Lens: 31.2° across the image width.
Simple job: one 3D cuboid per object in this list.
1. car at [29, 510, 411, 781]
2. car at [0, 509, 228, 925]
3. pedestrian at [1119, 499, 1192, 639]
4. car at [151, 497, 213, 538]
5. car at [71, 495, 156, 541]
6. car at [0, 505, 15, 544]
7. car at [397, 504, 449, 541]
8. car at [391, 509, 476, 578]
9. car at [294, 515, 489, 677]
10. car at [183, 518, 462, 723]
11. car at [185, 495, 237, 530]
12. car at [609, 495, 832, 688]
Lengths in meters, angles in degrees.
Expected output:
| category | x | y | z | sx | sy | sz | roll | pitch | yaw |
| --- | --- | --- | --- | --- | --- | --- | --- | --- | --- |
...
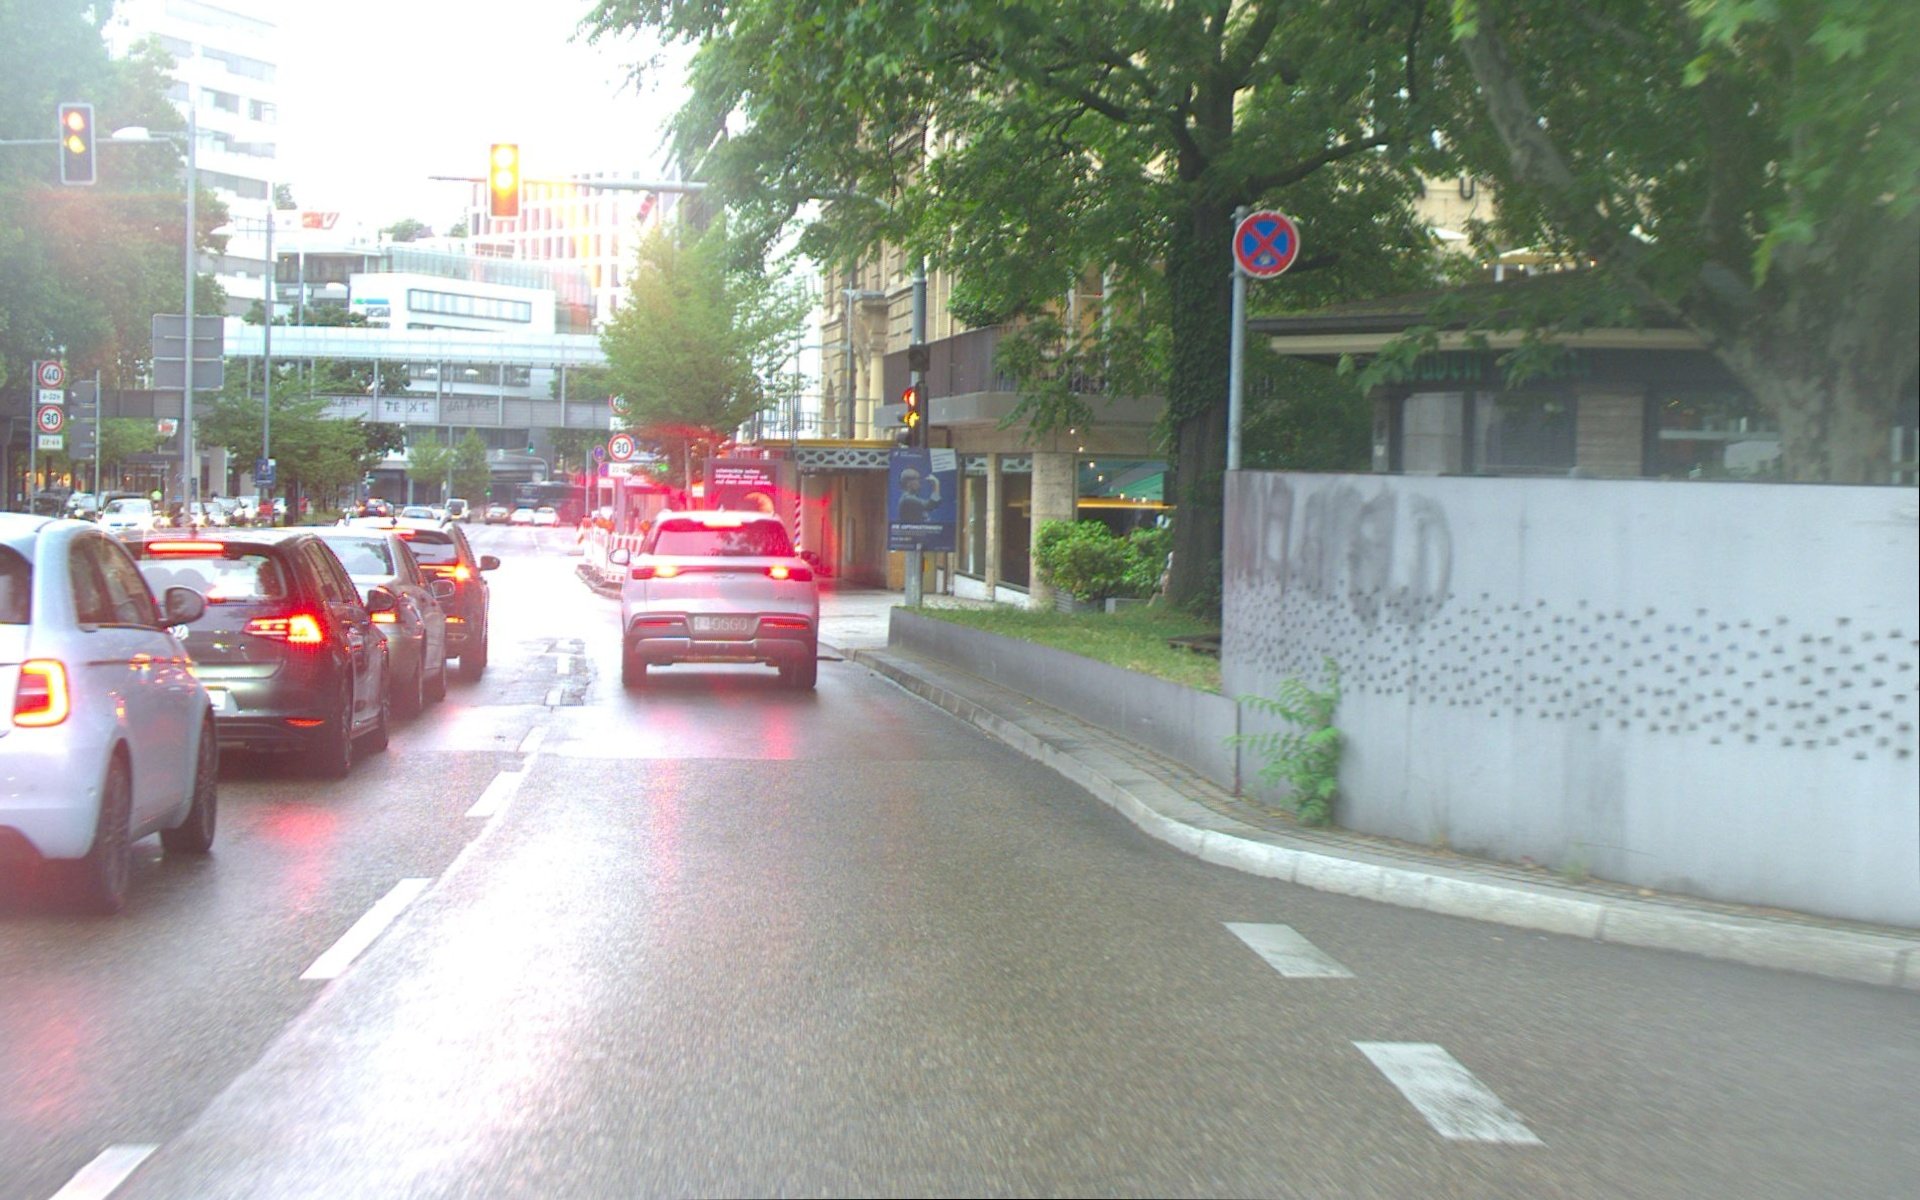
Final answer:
| category | x | y | z | sx | sy | sz | roll | pitch | yaw |
| --- | --- | --- | --- | --- | --- | --- | --- | --- | --- |
| car | -4.357 | 0.193 | 20.797 | 1.691 | 1.458 | 4.131 | 0 | 2 | -4 |
| car | -4.036 | 0.377 | 14.011 | 1.590 | 1.486 | 3.506 | 0 | 2 | -4 |
| pedestrian | 2.540 | -0.405 | 44.698 | 0.859 | 1.773 | 0.718 | 1 | 1 | -1 |
| car | -29.046 | -3.101 | 128.406 | 1.794 | 1.505 | 4.501 | 0 | 2 | -7 |
| car | -27.440 | -2.660 | 111.576 | 2.158 | 1.458 | 4.346 | 0 | 2 | -7 |
| car | -34.900 | -2.706 | 122.276 | 1.848 | 1.362 | 4.240 | 1 | 1 | -7 |
| car | -22.078 | -3.201 | 141.445 | 1.978 | 1.458 | 4.346 | 0 | 2 | -7 |
| car | -11.541 | -1.261 | 75.524 | 1.691 | 1.458 | 4.346 | 0 | 2 | -7 |
| car | -5.494 | -0.096 | 33.632 | 1.691 | 1.458 | 4.346 | 0 | 2 | -7 |
| car | -4.926 | 0.094 | 27.058 | 1.691 | 1.458 | 4.346 | 0 | 2 | -4 |
| car | -32.525 | -3.803 | 149.303 | 1.794 | 1.505 | 4.501 | 0 | 2 | -7 |
| car | -2.315 | -0.122 | 33.087 | 1.946 | 1.660 | 4.346 | 2 | 1 | -4 |
